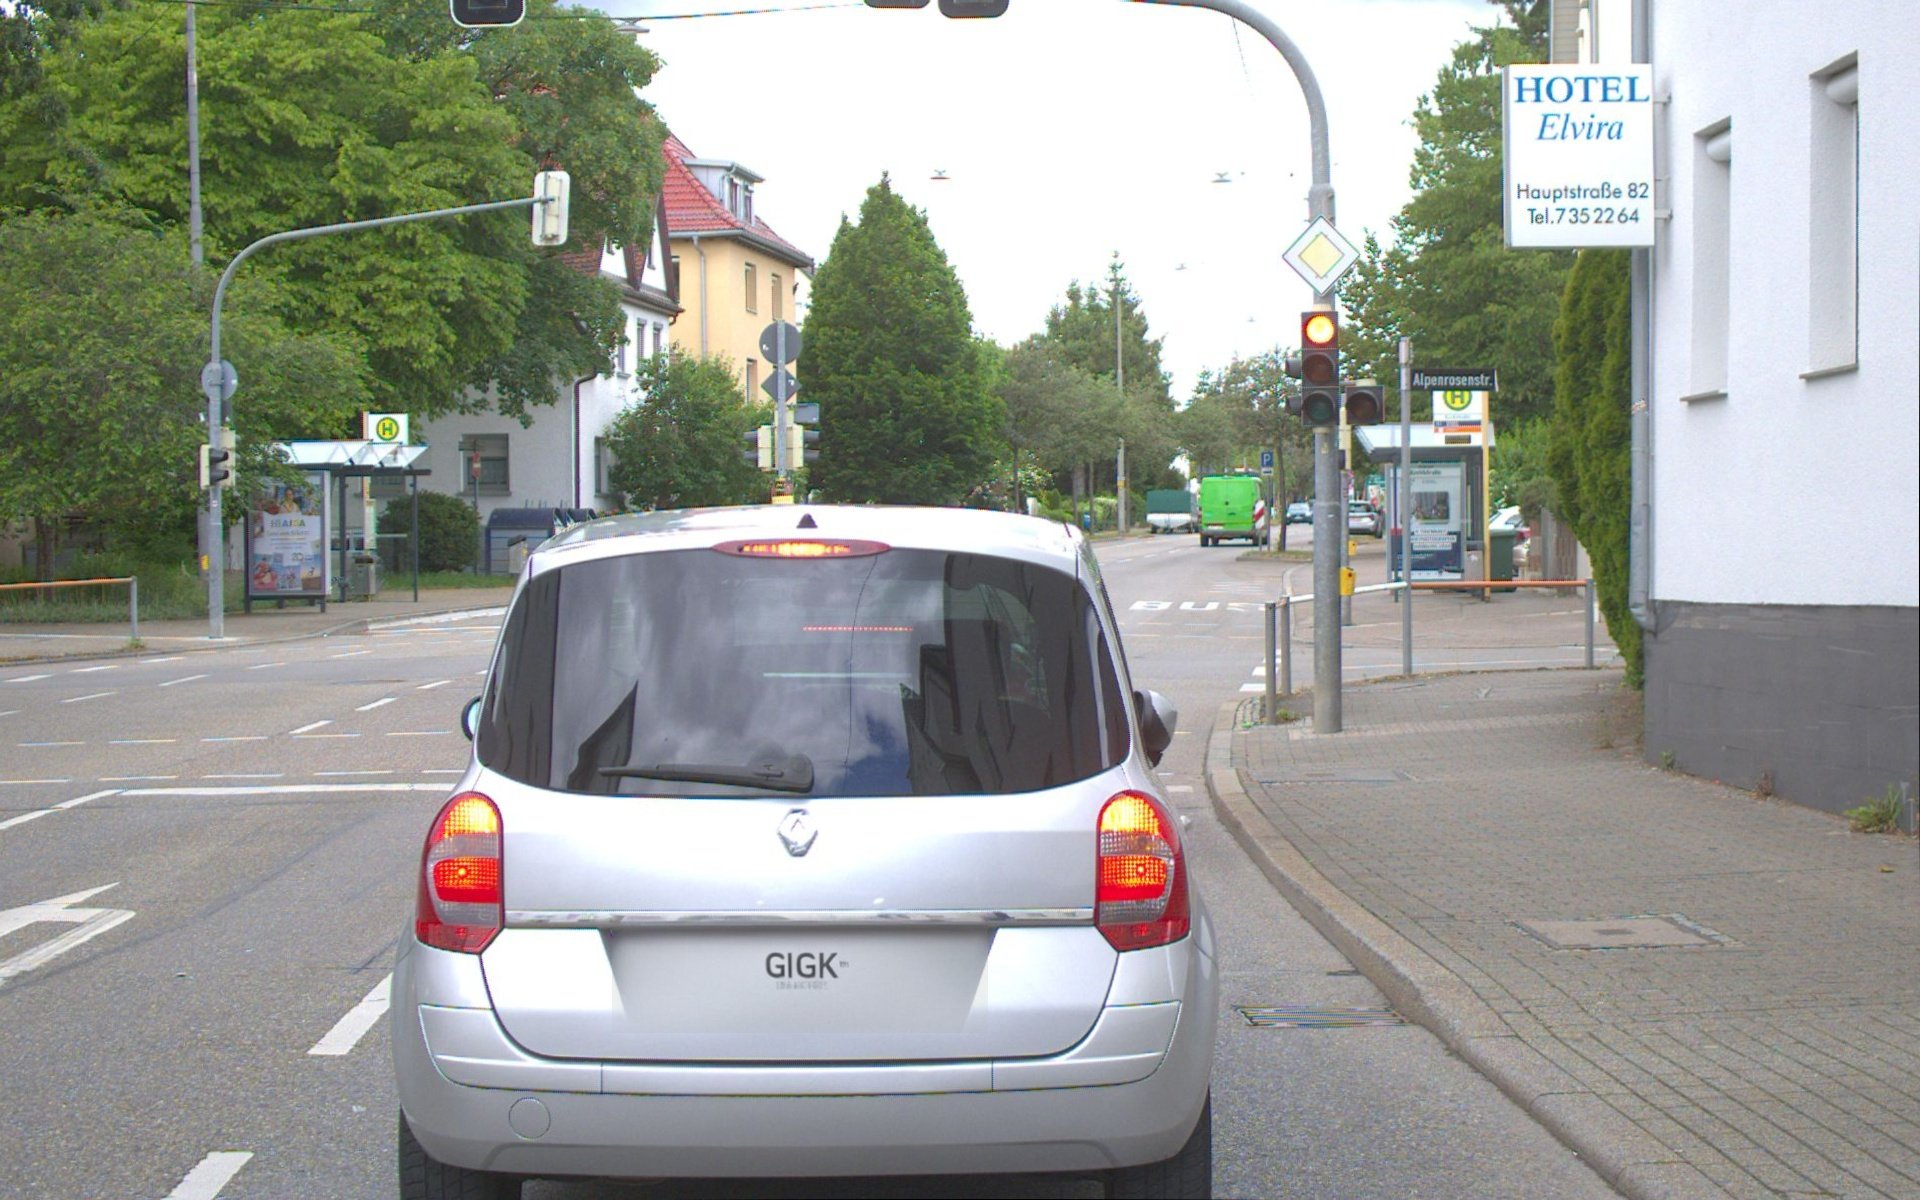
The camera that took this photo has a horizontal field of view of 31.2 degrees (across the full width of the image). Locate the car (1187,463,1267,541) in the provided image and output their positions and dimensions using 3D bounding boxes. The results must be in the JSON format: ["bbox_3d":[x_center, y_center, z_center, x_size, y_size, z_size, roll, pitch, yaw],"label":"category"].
[{"bbox_3d":[8.963,-3.239,114.856,2.060,2.503,5.593,1,1,11],"label":"car"}]

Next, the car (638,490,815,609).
[{"bbox_3d":[-3.829,-0.858,57.041,1.927,1.767,3.999,-4,1,10],"label":"car"}]

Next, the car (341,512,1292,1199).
[{"bbox_3d":[-0.302,0.573,8.380,1.755,1.525,4.000,0,1,-1],"label":"car"}]

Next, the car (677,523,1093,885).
[{"bbox_3d":[-0.352,0.410,16.486,1.755,1.525,3.797,0,1,-1],"label":"car"}]

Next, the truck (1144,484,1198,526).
[{"bbox_3d":[10.416,-4.661,169.356,2.102,2.007,5.745,1,1,9],"label":"truck"}]
